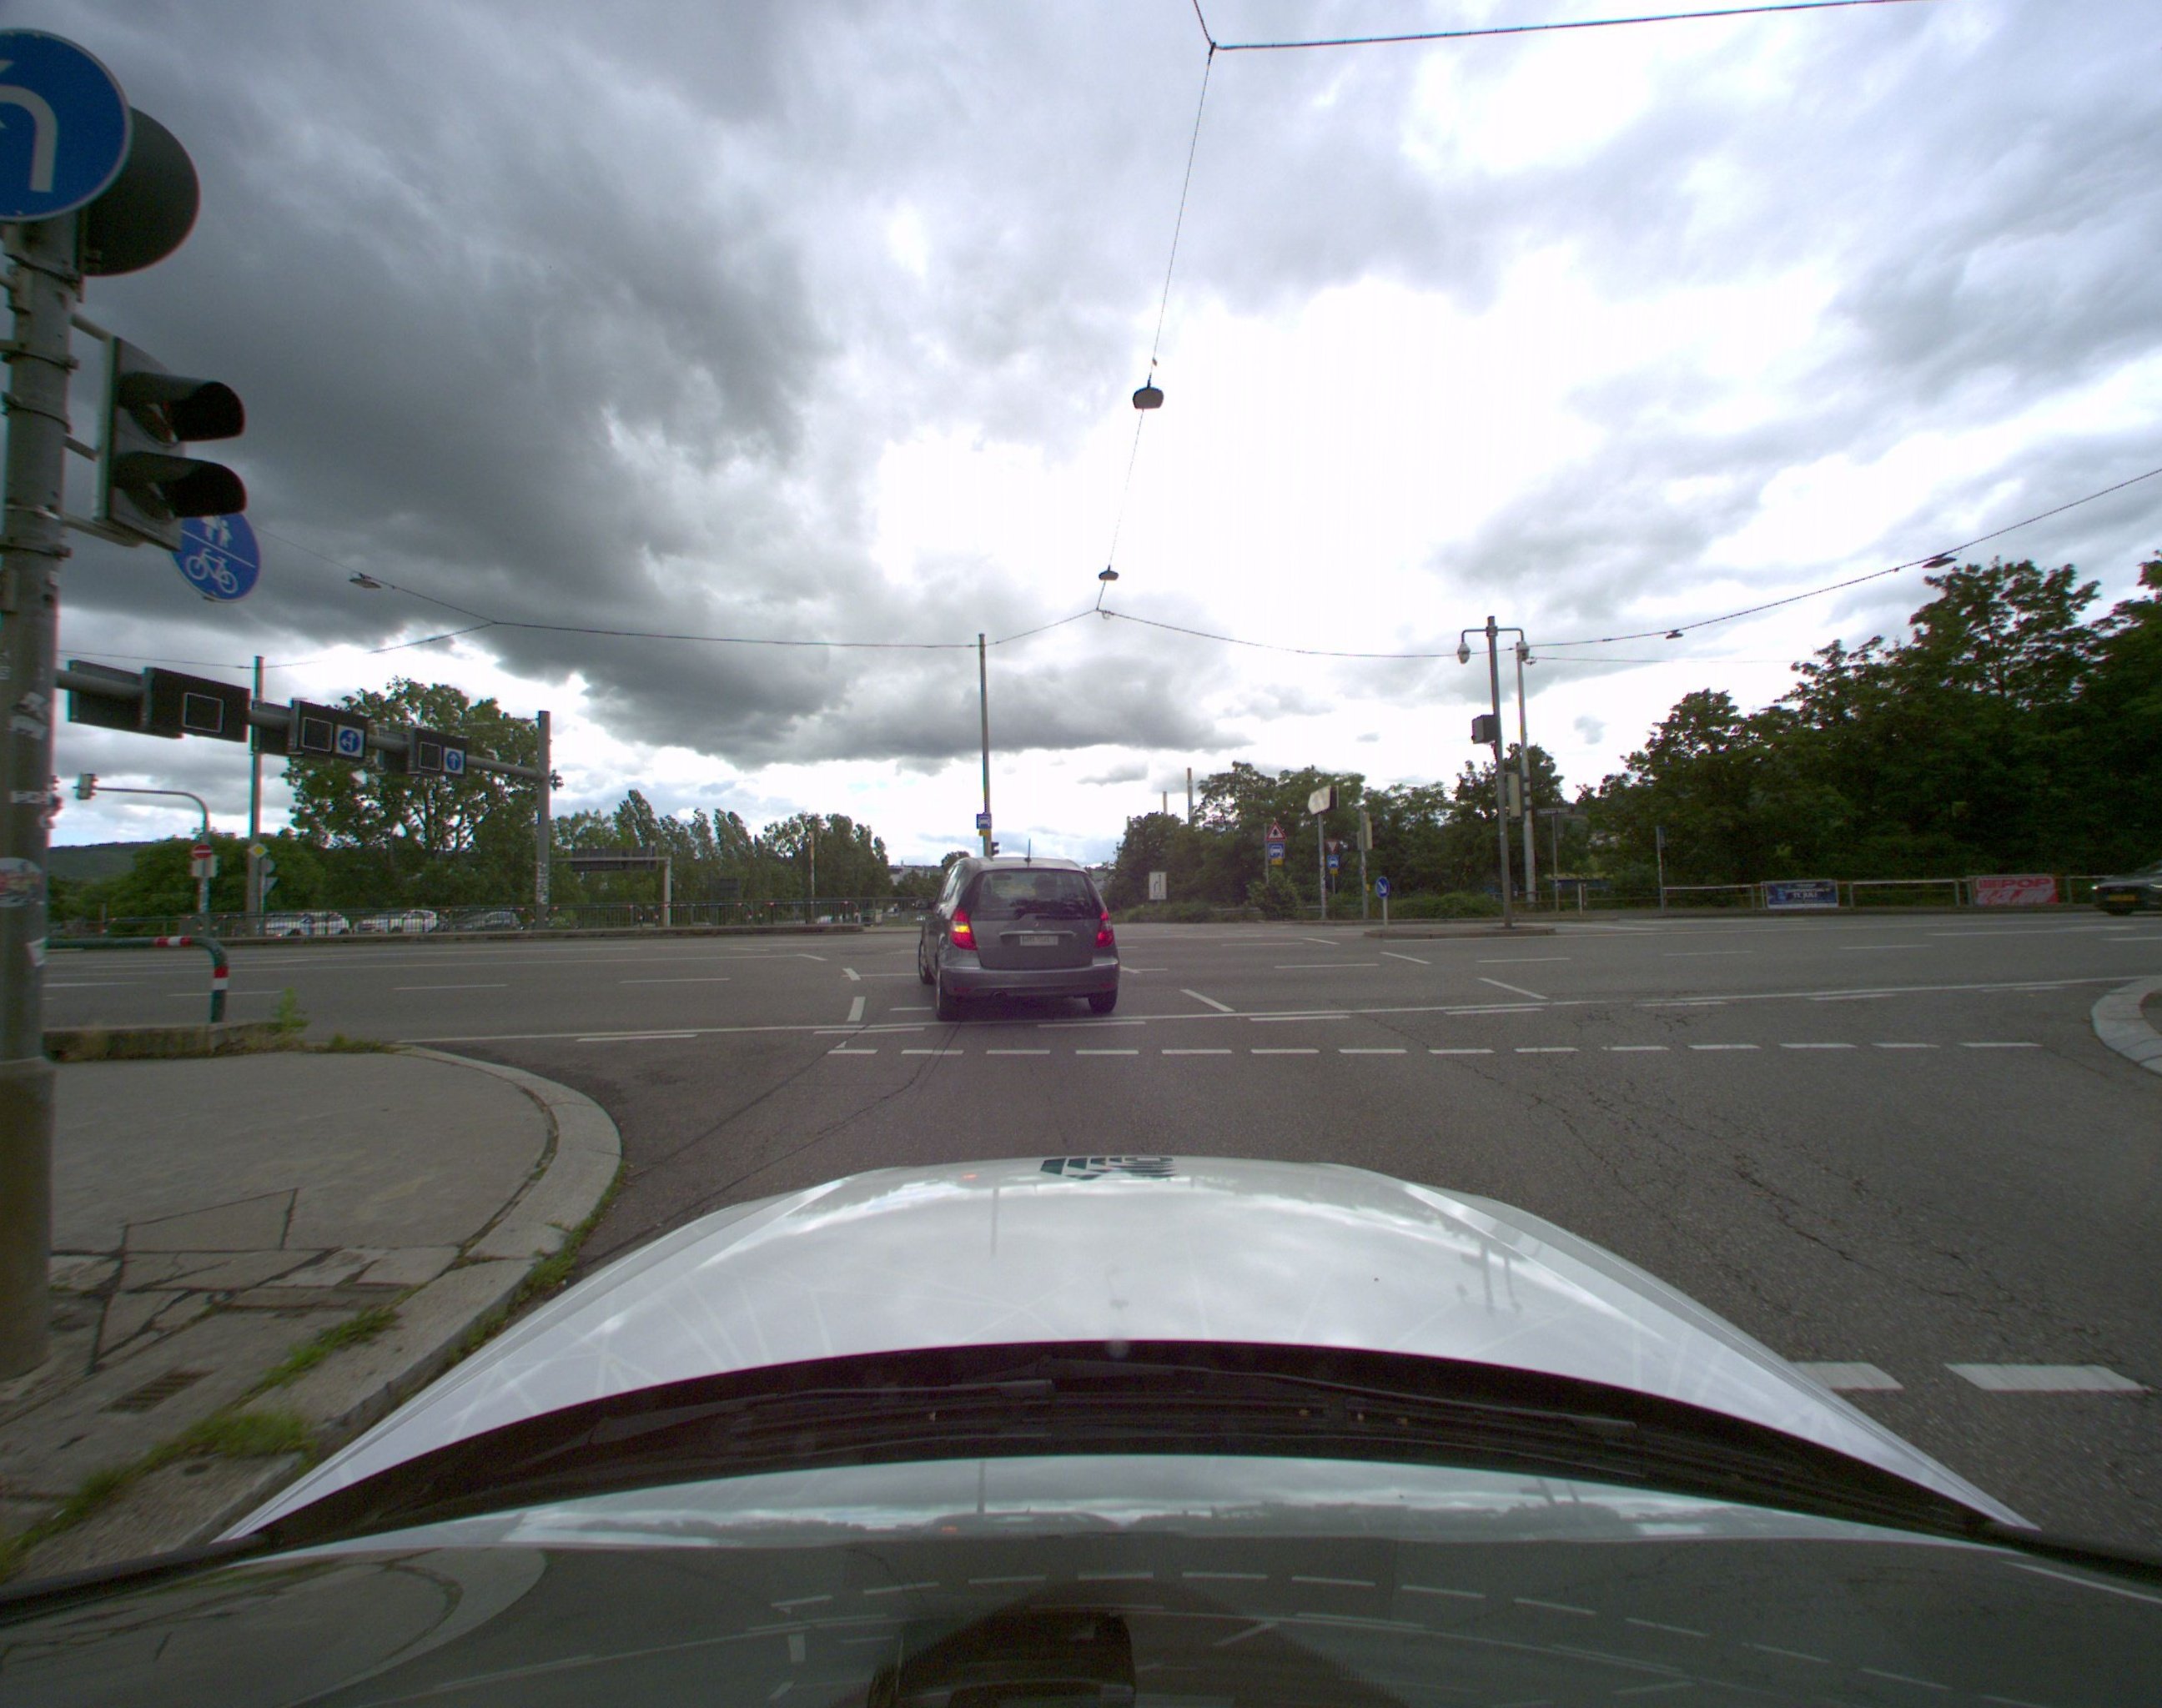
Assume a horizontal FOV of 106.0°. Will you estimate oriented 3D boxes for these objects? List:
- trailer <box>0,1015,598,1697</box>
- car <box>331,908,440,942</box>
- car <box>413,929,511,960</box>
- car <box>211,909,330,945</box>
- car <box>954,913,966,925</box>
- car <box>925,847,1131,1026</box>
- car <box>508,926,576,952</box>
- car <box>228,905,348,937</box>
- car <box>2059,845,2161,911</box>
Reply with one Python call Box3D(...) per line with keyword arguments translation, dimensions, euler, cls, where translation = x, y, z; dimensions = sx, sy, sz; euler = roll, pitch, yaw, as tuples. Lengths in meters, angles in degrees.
Box3D(translation=(-12.301, 6.017, 10.758), dimensions=(2.960, 4.991, 14.134), euler=(-1, 0, 2), cls="trailer")
Box3D(translation=(-36.750, 3.748, 43.191), dimensions=(1.987, 1.620, 4.340), euler=(-3, -5, 0), cls="car")
Box3D(translation=(-36.598, 5.337, 48.346), dimensions=(1.987, 1.620, 4.960), euler=(-3, -5, 0), cls="car")
Box3D(translation=(-38.906, 3.502, 39.230), dimensions=(1.685, 1.540, 4.005), euler=(-3, -5, -1), cls="car")
Box3D(translation=(-25.656, 13.778, 172.707), dimensions=(1.988, 2.371, 4.585), euler=(-3, -5, -2), cls="car")
Box3D(translation=(-0.815, 0.766, 9.232), dimensions=(1.747, 1.550, 3.854), euler=(-1, -1, -13), cls="car")
Box3D(translation=(-37.119, 5.827, 56.190), dimensions=(1.987, 1.618, 3.997), euler=(-3, -5, -1), cls="car")
Box3D(translation=(-36.156, 3.073, 37.269), dimensions=(1.779, 1.313, 3.762), euler=(-3, -5, 0), cls="car")
Box3D(translation=(25.383, 0.465, 18.196), dimensions=(4.419, 1.420, 1.936), euler=(-3, -4, 3), cls="car")
